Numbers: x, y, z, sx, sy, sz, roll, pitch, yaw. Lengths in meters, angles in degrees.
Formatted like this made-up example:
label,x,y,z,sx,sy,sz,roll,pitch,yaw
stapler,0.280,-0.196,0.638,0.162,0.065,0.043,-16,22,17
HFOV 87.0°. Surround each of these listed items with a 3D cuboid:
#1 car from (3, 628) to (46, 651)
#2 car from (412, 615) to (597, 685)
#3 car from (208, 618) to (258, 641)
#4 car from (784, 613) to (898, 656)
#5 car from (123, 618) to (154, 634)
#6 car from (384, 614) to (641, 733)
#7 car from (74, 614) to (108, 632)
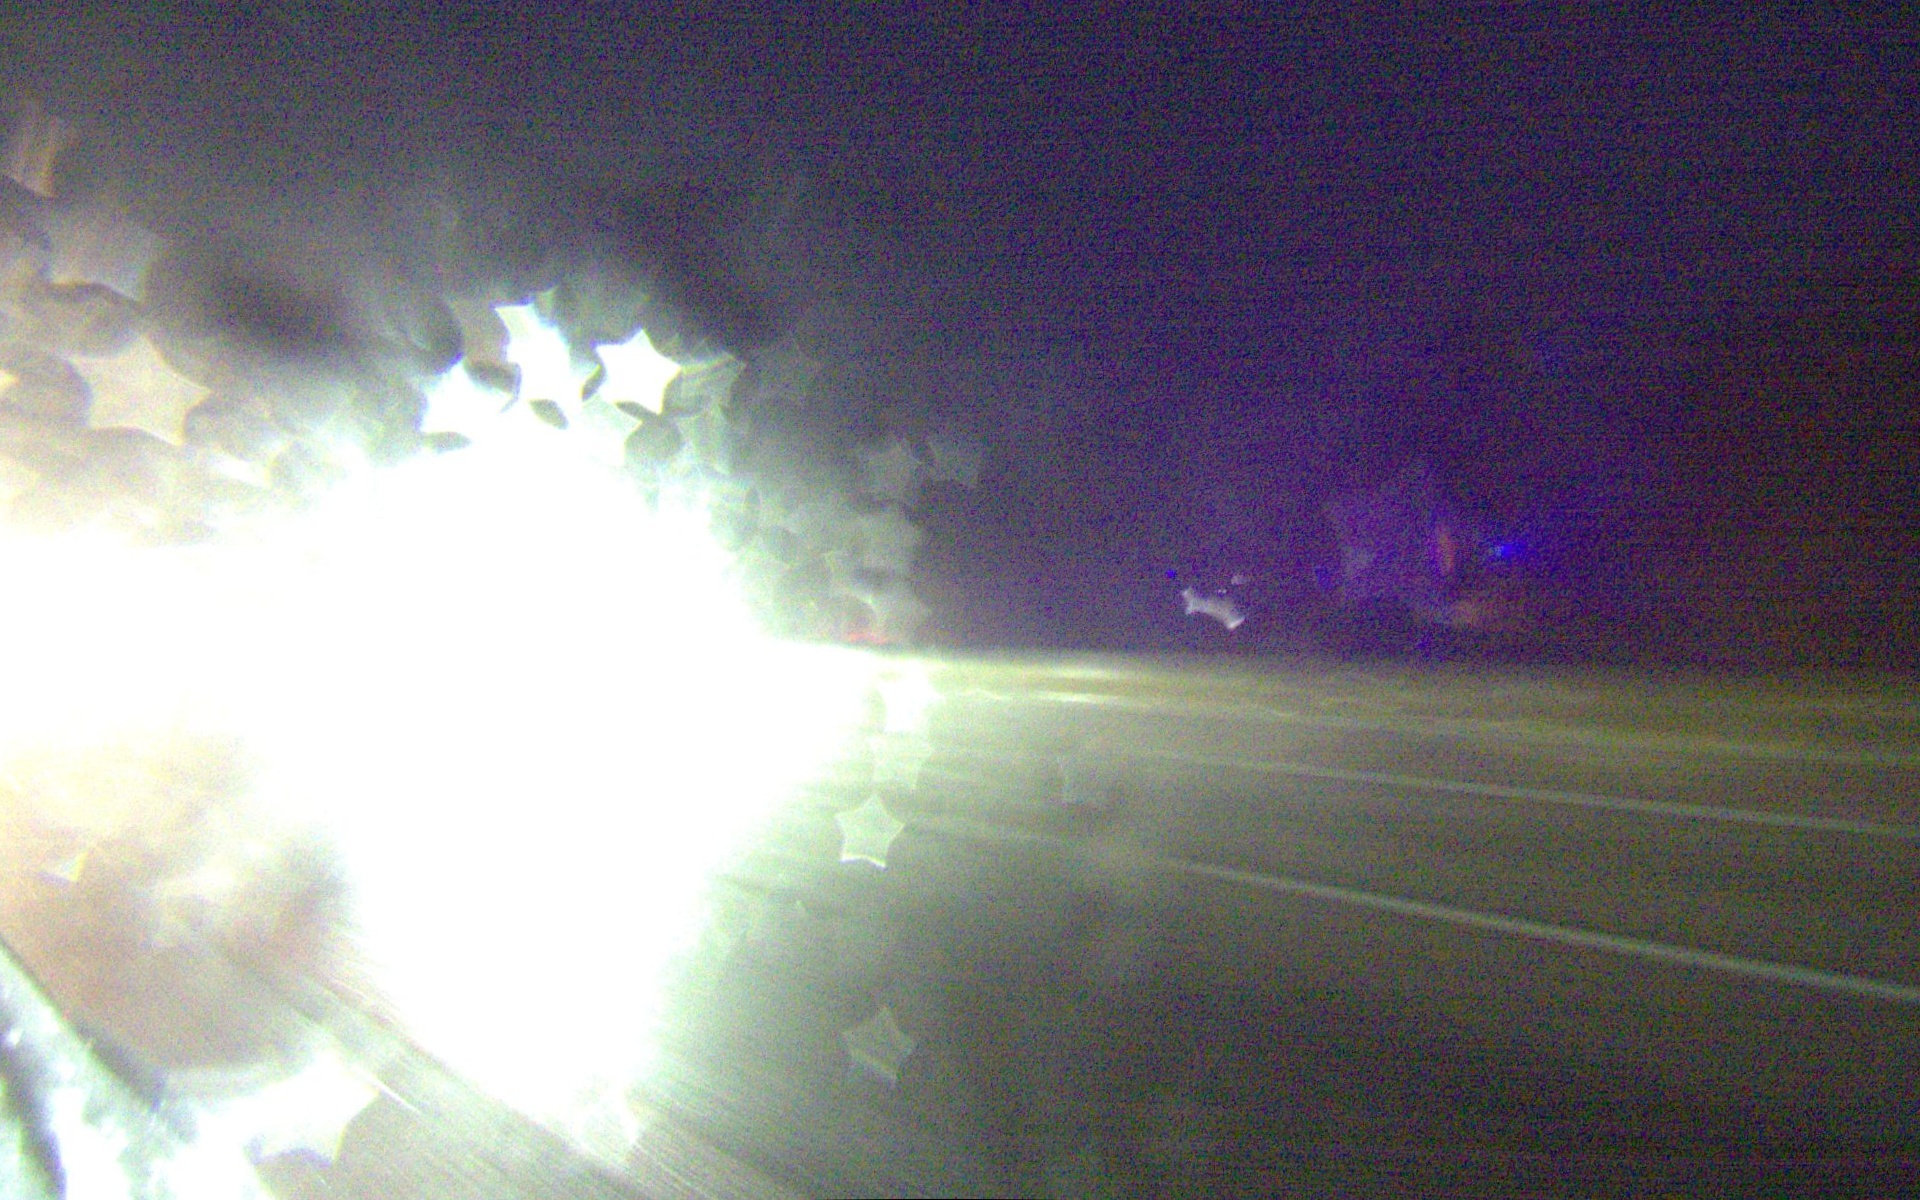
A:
label,x,y,z,sx,sy,sz,roll,pitch,yaw
car,-71.318,3.001,77.134,4.586,1.572,1.972,-1,0,42
car,-11.100,1.132,24.483,5.159,1.487,1.974,-1,0,39
car,-51.769,2.075,72.052,4.456,1.569,1.861,-1,0,40
car,-4.691,1.301,39.588,4.456,1.569,1.861,-1,0,40
car,-92.261,2.873,113.693,4.559,1.734,1.861,-1,0,40
car,-6.645,0.958,14.867,3.998,1.452,1.973,-1,0,41
car,-91.521,2.405,106.554,5.056,1.857,1.861,-1,0,40
